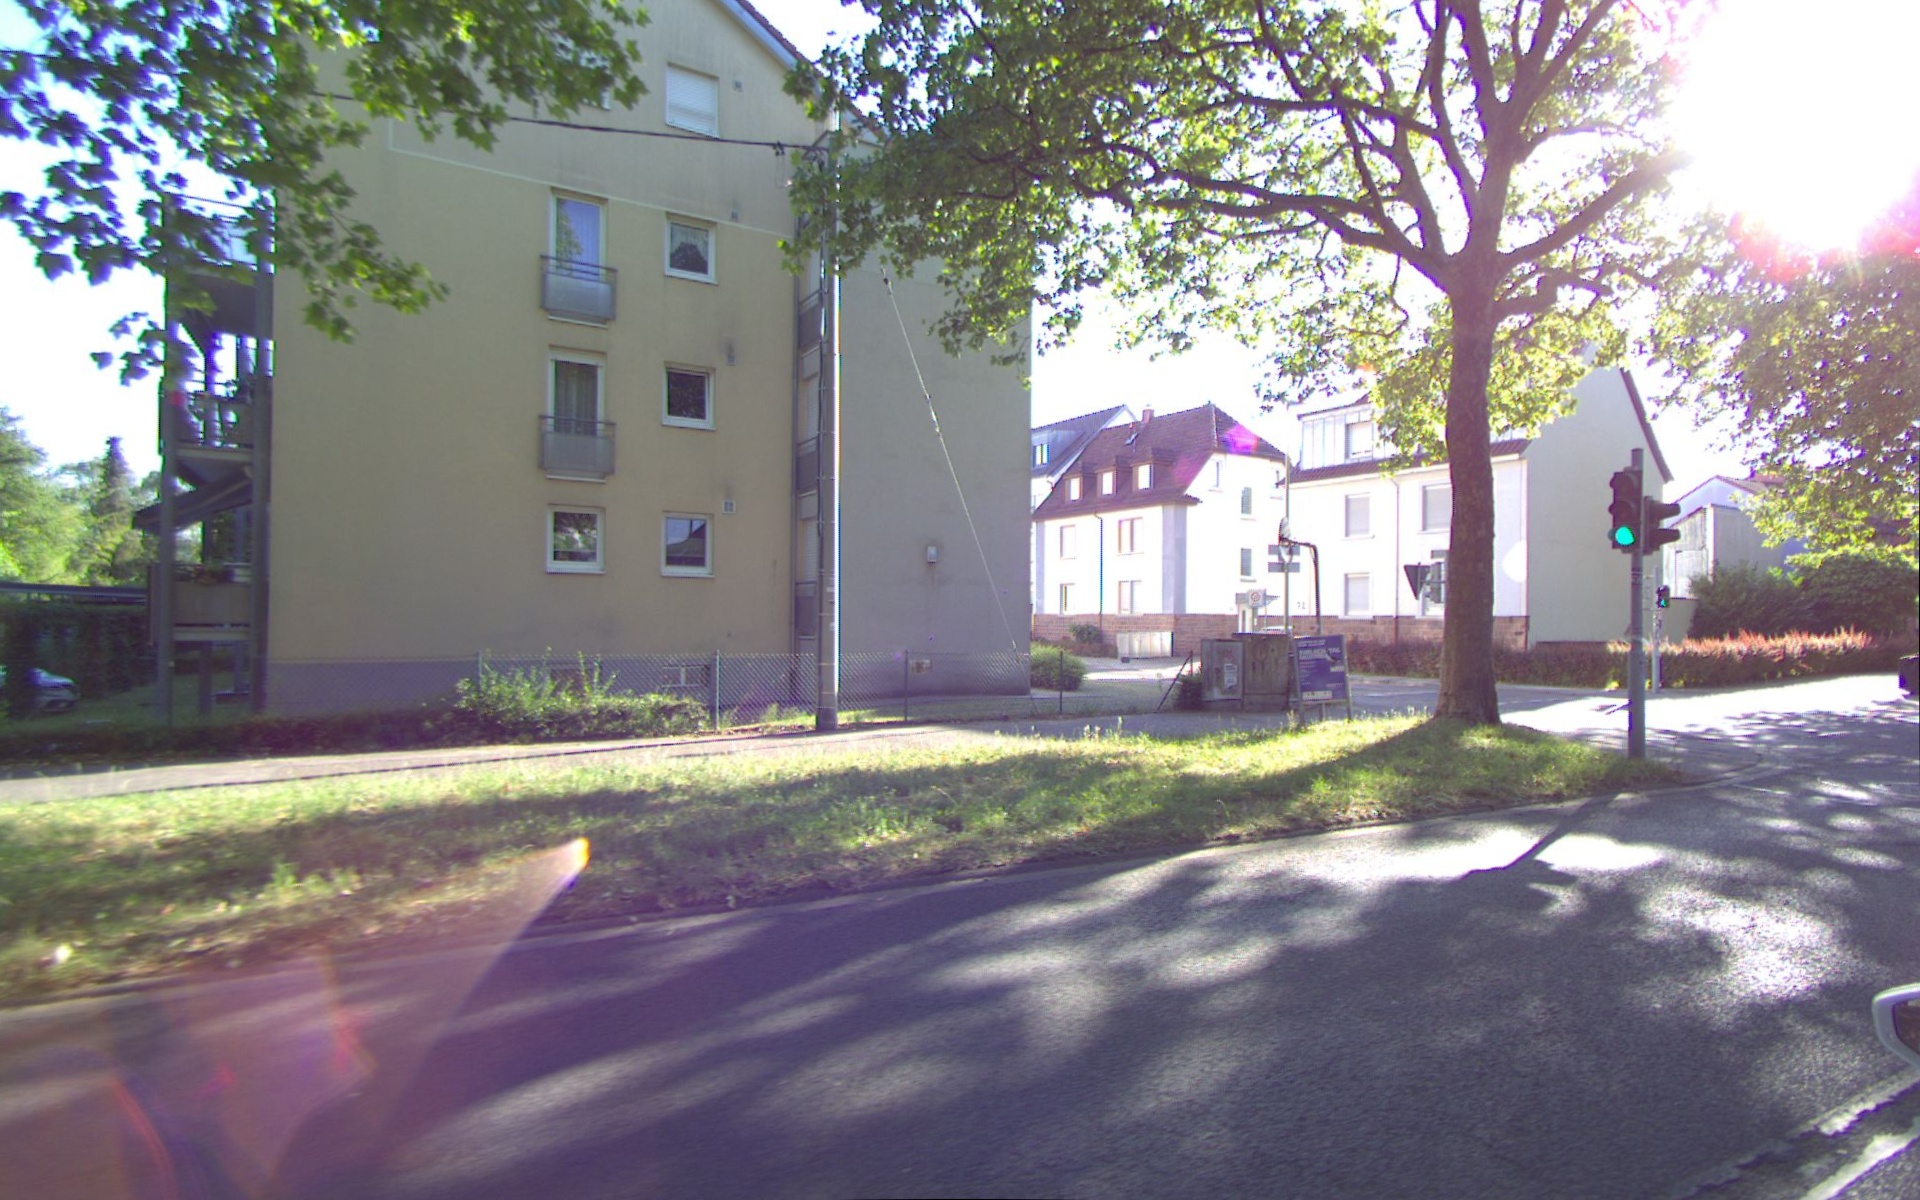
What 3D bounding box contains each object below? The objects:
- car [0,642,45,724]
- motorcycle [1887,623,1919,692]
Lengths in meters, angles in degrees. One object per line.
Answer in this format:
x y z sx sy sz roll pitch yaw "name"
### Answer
-20.599 1.608 19.352 4.074 1.567 1.872 1 -2 -34 "car"
24.862 1.467 25.910 2.367 1.660 0.973 -1 0 -37 "motorcycle"
